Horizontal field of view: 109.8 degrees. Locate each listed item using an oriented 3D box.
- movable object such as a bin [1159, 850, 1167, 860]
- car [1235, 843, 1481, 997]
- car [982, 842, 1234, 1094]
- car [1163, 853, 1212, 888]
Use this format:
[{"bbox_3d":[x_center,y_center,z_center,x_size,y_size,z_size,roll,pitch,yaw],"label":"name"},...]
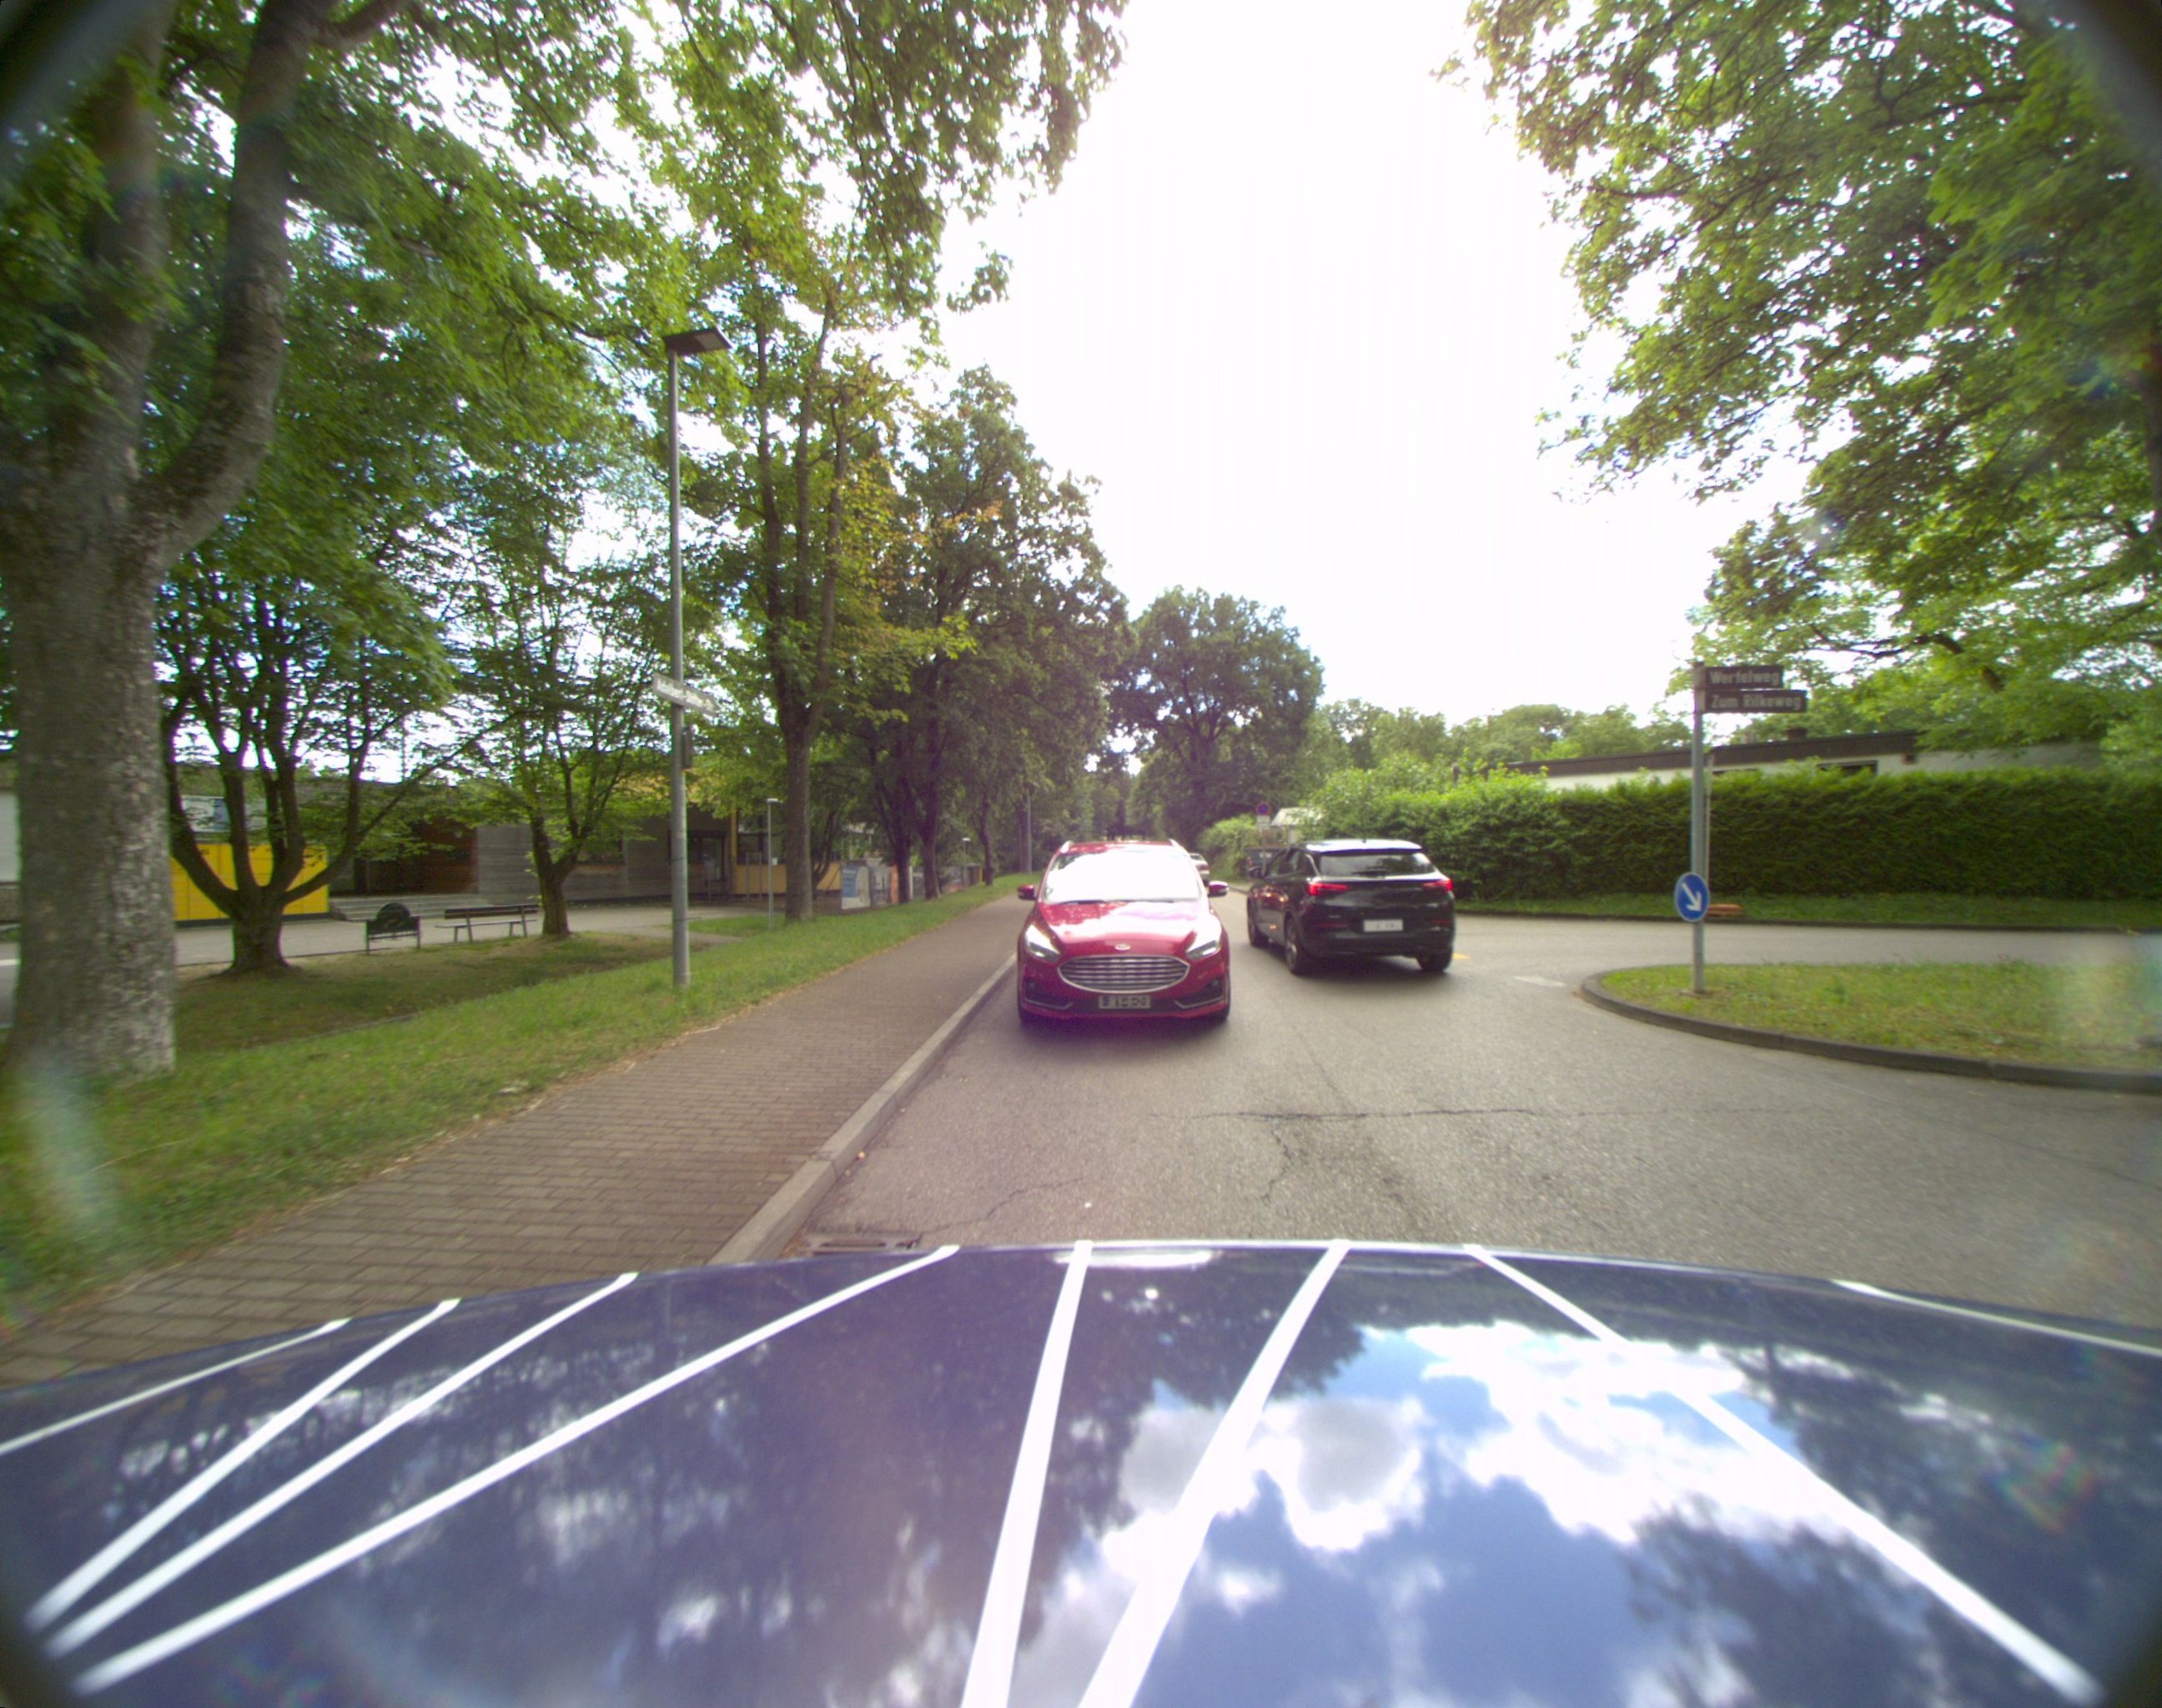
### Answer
[{"bbox_3d":[8.305,0.121,76.625,0.649,1.007,0.632,1,2,18],"label":"movable object such as a bin"},{"bbox_3d":[3.341,0.688,10.126,1.807,1.582,4.296,-1,0,2],"label":"car"},{"bbox_3d":[0.450,0.796,7.567,1.815,1.718,4.001,2,2,8],"label":"car"},{"bbox_3d":[4.376,0.651,31.805,1.785,1.299,4.297,-1,0,5],"label":"car"}]
